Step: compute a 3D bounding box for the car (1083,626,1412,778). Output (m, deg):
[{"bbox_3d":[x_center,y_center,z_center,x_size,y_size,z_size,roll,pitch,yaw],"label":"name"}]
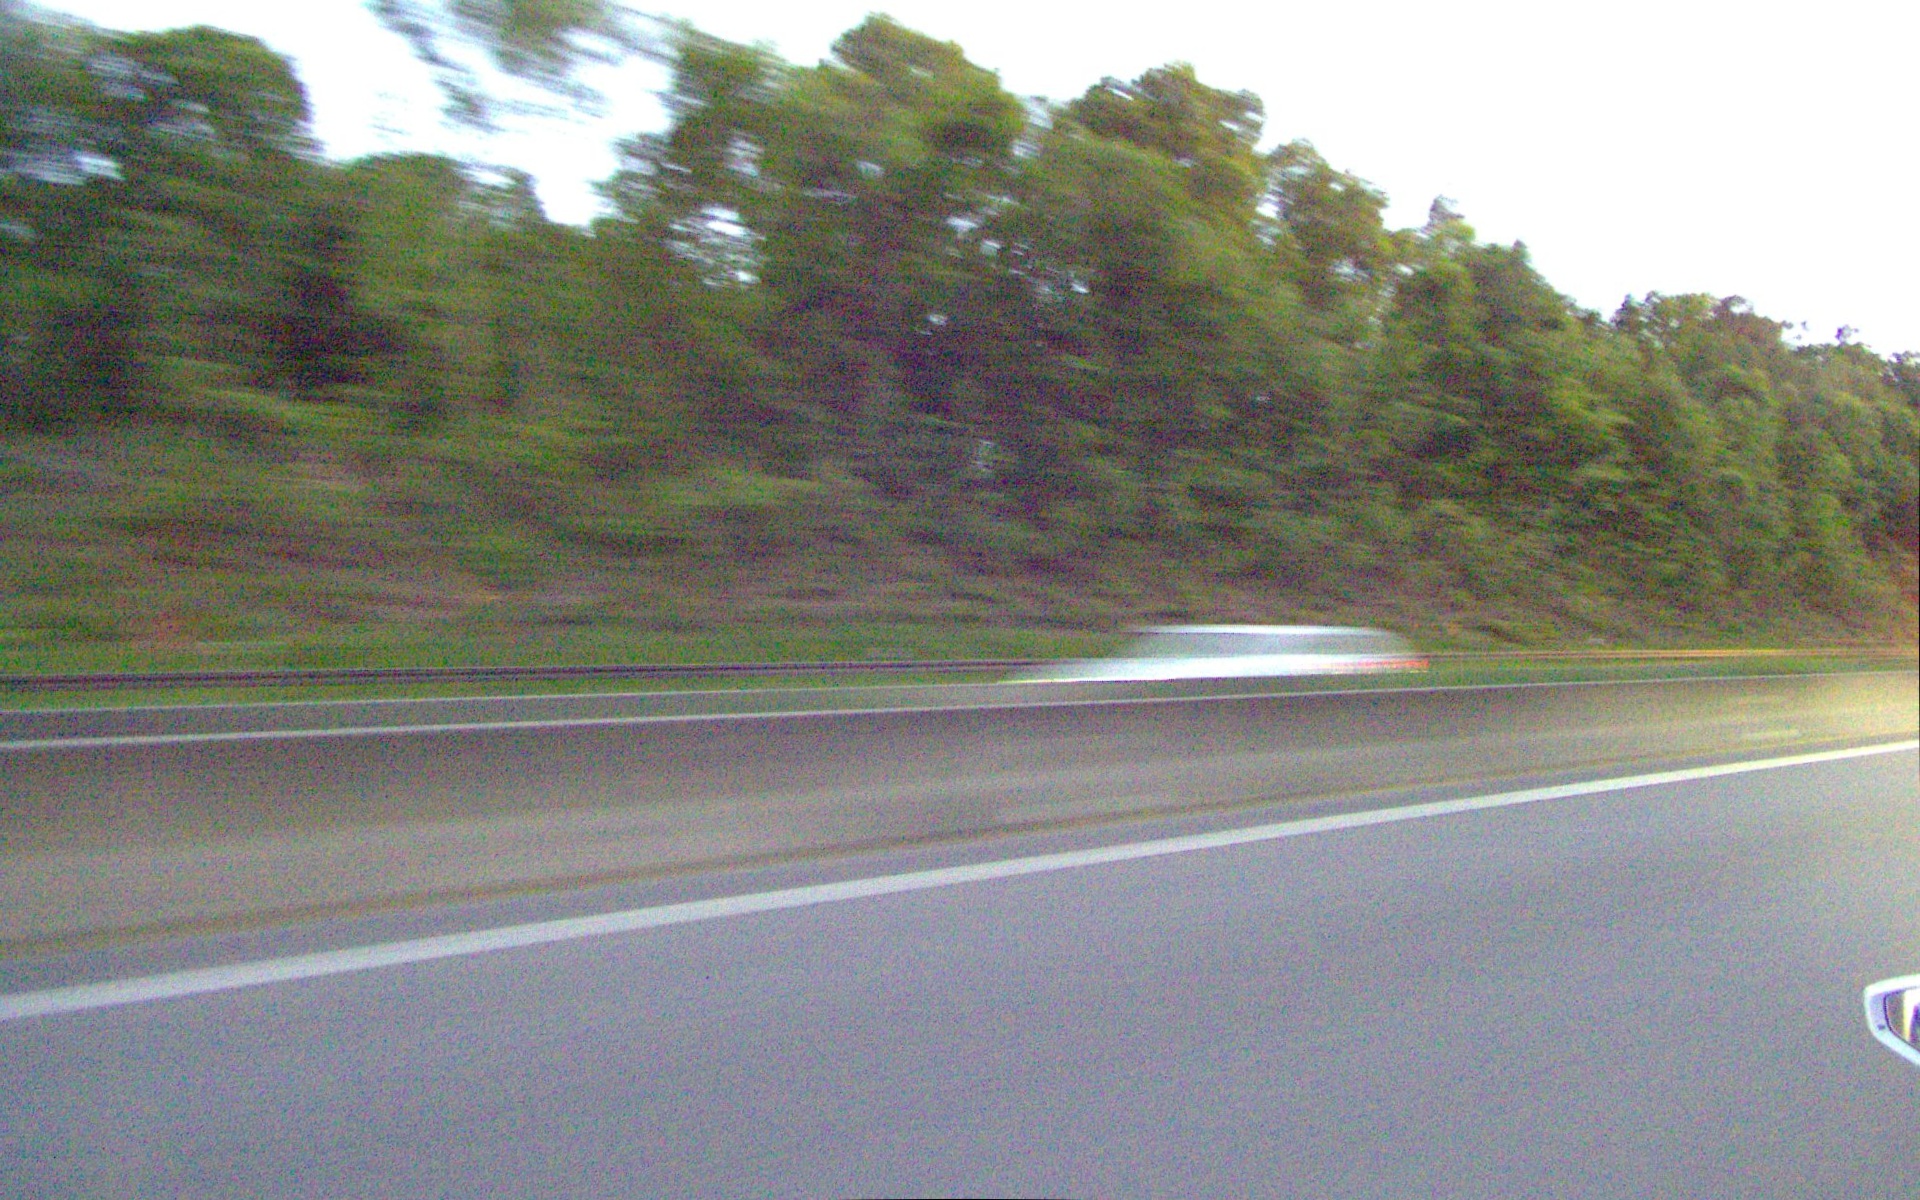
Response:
[{"bbox_3d":[4.428,1.401,15.151,5.056,1.957,1.920,2,-2,-32],"label":"car"}]
